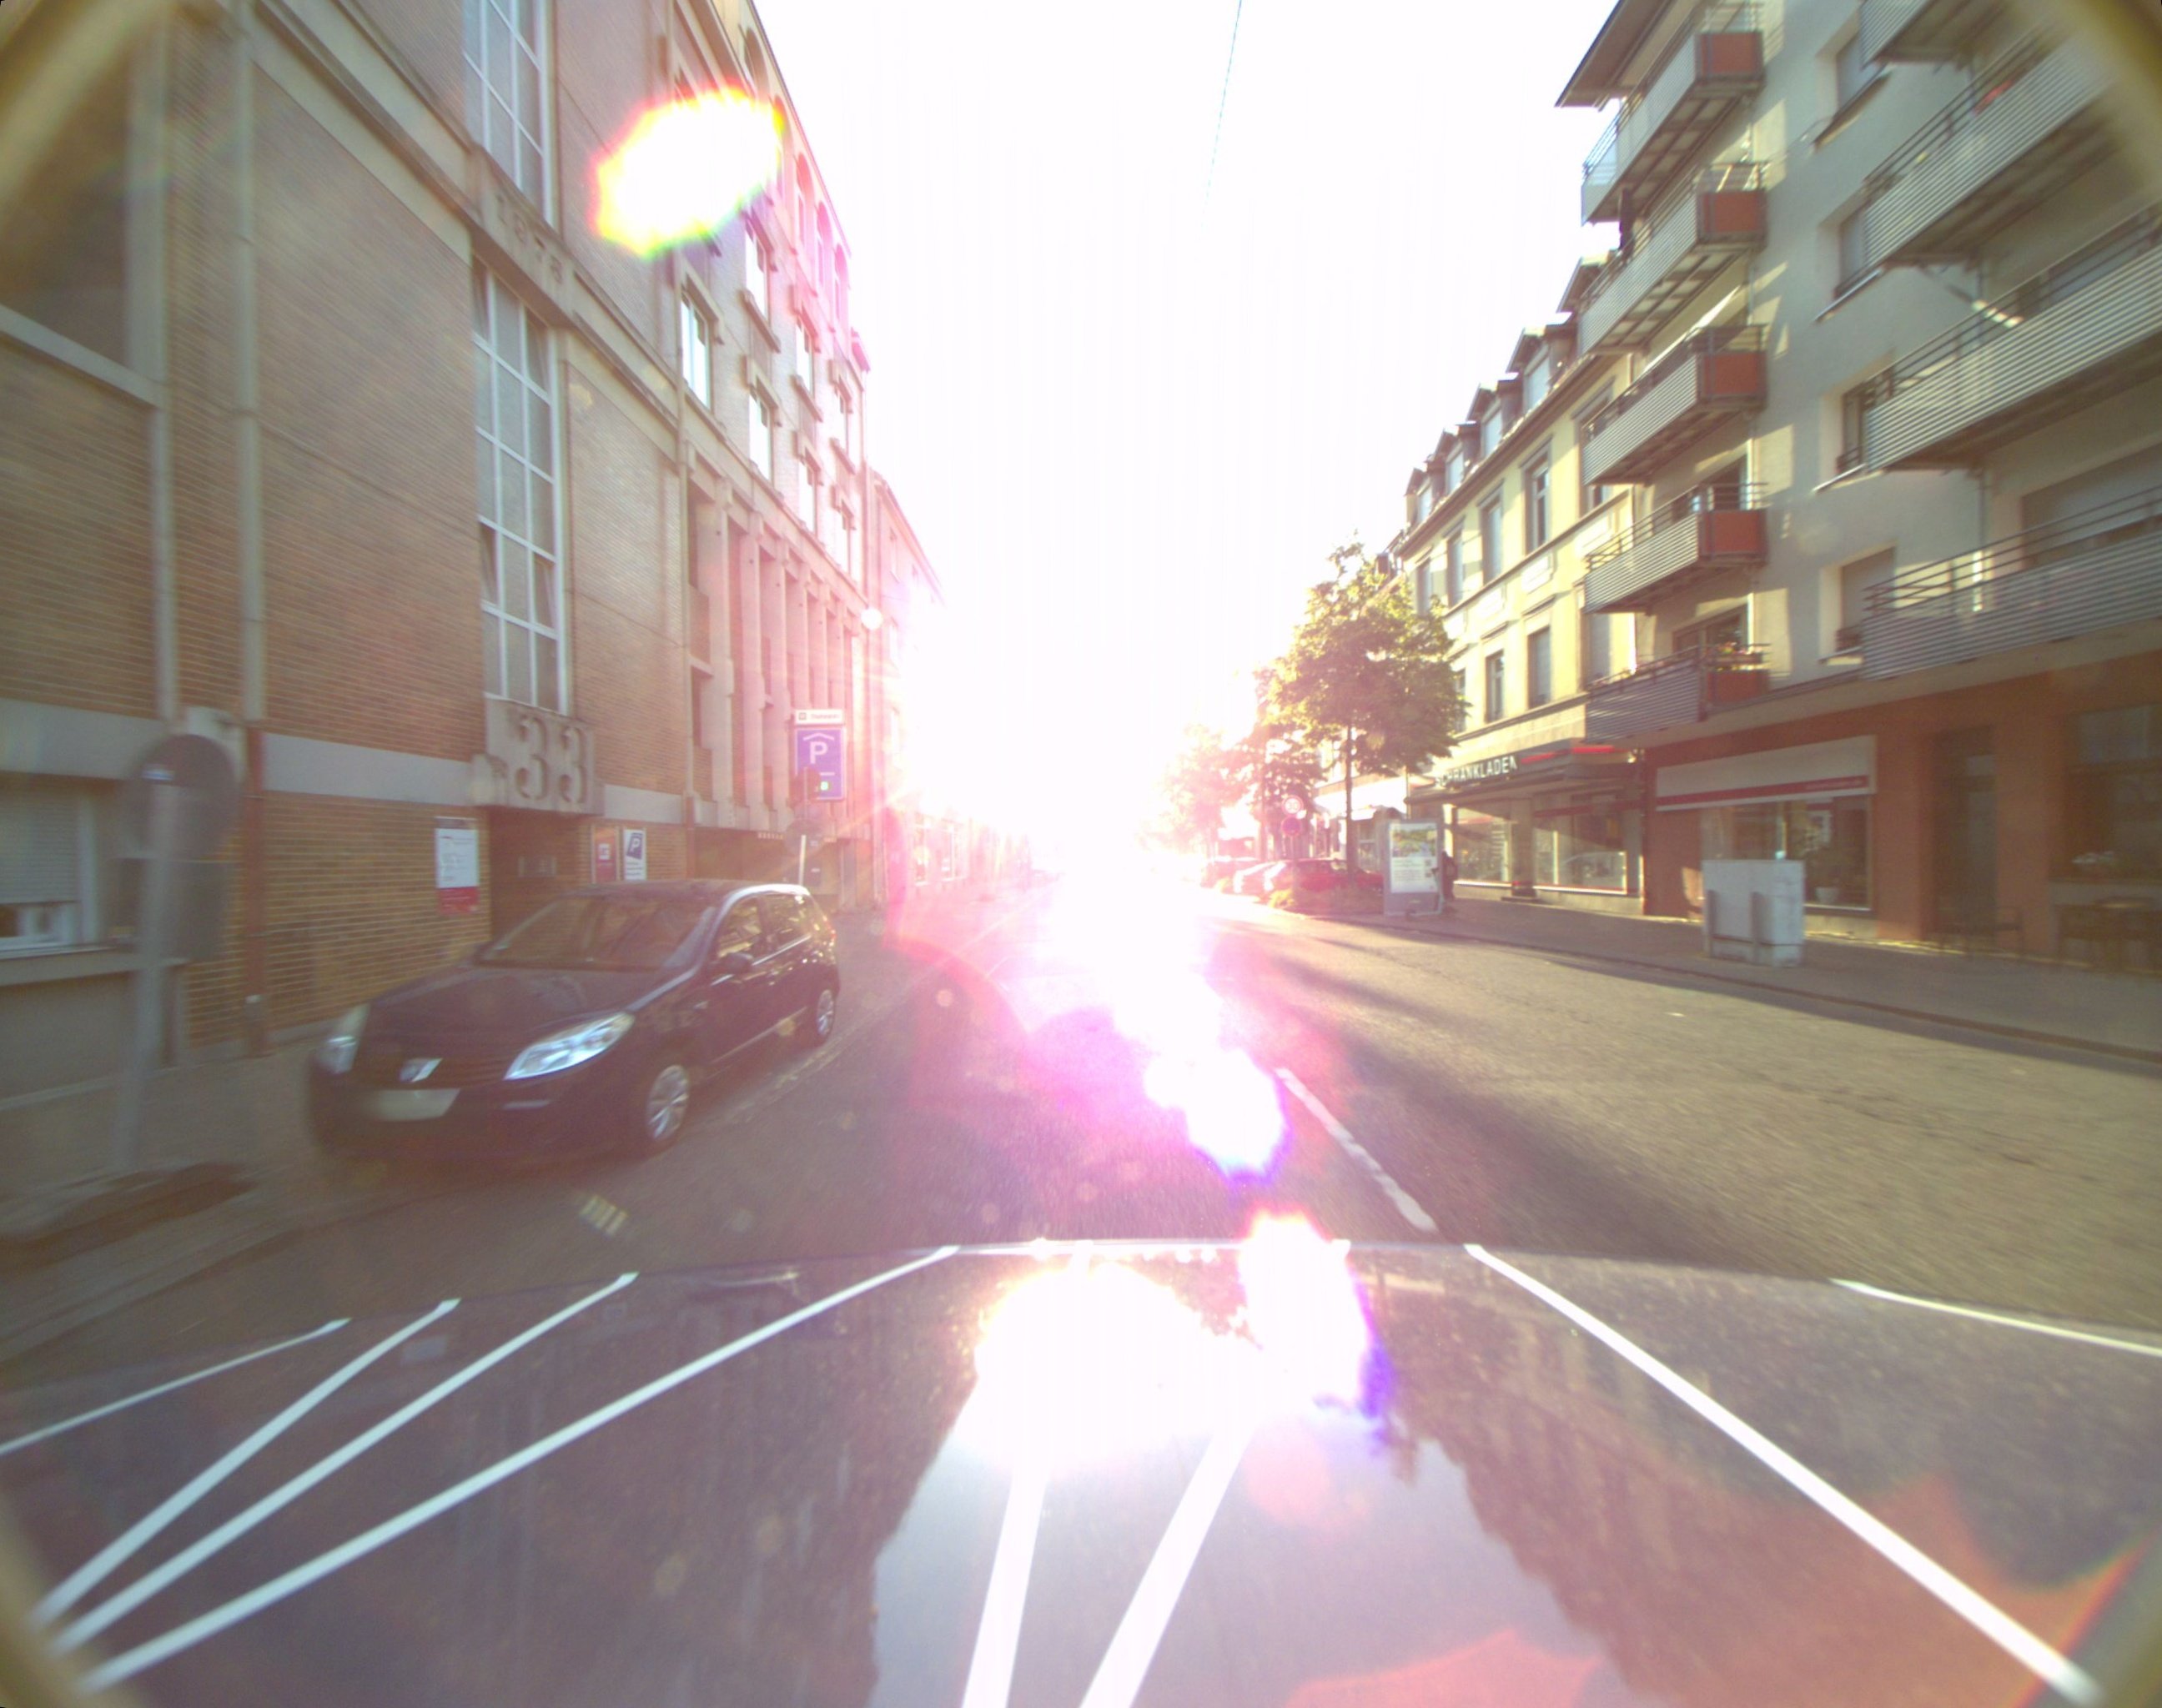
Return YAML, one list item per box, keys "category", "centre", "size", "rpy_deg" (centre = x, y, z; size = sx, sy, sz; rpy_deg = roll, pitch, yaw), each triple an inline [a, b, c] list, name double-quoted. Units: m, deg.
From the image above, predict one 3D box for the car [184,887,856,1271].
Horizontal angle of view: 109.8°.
- category: "car"
  centre: [-3.164, 1.108, 5.466]
  size: [1.763, 1.527, 4.000]
  rpy_deg: [2, 0, 2]

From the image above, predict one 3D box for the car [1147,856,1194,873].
- category: "car"
  centre: [8.582, 1.015, 72.936]
  size: [4.285, 1.475, 1.744]
  rpy_deg: [-2, 0, 1]

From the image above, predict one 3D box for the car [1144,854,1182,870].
- category: "car"
  centre: [9.001, 0.848, 83.788]
  size: [3.876, 1.558, 1.744]
  rpy_deg: [-2, 0, -1]

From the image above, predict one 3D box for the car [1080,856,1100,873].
- category: "car"
  centre: [0.876, 1.005, 74.125]
  size: [1.825, 1.469, 4.155]
  rpy_deg: [-2, 0, 2]

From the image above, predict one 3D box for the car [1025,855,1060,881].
- category: "car"
  centre: [-2.655, 0.939, 52.951]
  size: [2.043, 1.727, 4.712]
  rpy_deg: [1, 0, 2]

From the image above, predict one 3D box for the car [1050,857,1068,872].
- category: "car"
  centre: [-2.191, 1.066, 77.300]
  size: [1.695, 1.534, 3.553]
  rpy_deg: [0, 0, 0]

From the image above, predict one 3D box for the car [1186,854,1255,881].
- category: "car"
  centre: [8.407, 0.813, 46.089]
  size: [3.748, 1.435, 1.805]
  rpy_deg: [-3, 0, -2]

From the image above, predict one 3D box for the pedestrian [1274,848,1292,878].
- category: "pedestrian"
  centre: [11.658, 0.511, 43.878]
  size: [0.774, 1.712, 0.875]
  rpy_deg: [-3, 2, 1]

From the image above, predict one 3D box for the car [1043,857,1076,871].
- category: "car"
  centre: [-2.384, 1.111, 85.513]
  size: [1.661, 1.574, 3.632]
  rpy_deg: [-1, -1, 42]

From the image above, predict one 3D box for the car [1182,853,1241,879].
- category: "car"
  centre: [8.597, 0.776, 50.172]
  size: [3.565, 1.493, 1.716]
  rpy_deg: [-3, 0, 0]

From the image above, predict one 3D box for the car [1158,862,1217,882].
- category: "car"
  centre: [8.667, 1.448, 62.115]
  size: [4.559, 1.475, 1.744]
  rpy_deg: [-2, 0, 1]

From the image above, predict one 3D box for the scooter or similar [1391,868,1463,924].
- category: "scooter or similar"
  centre: [8.057, 0.970, 17.721]
  size: [1.402, 1.219, 0.525]
  rpy_deg: [-2, 1, -2]

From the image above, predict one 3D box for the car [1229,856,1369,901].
- category: "car"
  centre: [7.960, 0.884, 28.031]
  size: [4.582, 1.399, 1.821]
  rpy_deg: [-3, 0, -1]

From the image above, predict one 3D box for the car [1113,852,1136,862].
- category: "car"
  centre: [8.854, 0.543, 154.869]
  size: [4.439, 1.832, 1.814]
  rpy_deg: [-3, 0, 0]

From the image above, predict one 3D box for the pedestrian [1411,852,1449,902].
- category: "pedestrian"
  centre: [11.012, 0.712, 23.991]
  size: [0.736, 1.519, 0.875]
  rpy_deg: [-3, 2, 1]

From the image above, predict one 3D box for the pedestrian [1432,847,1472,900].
- category: "pedestrian"
  centre: [11.701, 0.613, 23.994]
  size: [0.774, 1.599, 0.875]
  rpy_deg: [-3, 2, 1]

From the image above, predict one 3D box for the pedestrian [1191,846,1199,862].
- category: "pedestrian"
  centre: [12.651, -0.036, 84.418]
  size: [0.721, 1.739, 0.934]
  rpy_deg: [-4, 0, 1]

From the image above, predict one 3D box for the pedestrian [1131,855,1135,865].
- category: "pedestrian"
  centre: [8.251, 0.938, 121.285]
  size: [0.550, 1.638, 0.721]
  rpy_deg: [-2, 0, 4]

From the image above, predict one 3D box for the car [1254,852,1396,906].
- category: "car"
  centre: [8.051, 0.810, 25.375]
  size: [4.082, 1.527, 1.884]
  rpy_deg: [-3, 0, 1]

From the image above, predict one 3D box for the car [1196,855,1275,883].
- category: "car"
  centre: [8.725, 0.841, 43.128]
  size: [4.107, 1.395, 1.843]
  rpy_deg: [-2, 0, 2]

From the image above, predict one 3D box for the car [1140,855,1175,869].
- category: "car"
  centre: [8.945, 0.896, 89.232]
  size: [3.876, 1.448, 1.744]
  rpy_deg: [-2, 0, -1]

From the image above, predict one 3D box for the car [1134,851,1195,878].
- category: "car"
  centre: [6.041, 0.773, 55.356]
  size: [4.160, 1.762, 1.889]
  rpy_deg: [-3, 0, -1]

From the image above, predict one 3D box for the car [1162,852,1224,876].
- category: "car"
  centre: [8.471, 0.752, 57.739]
  size: [4.417, 1.586, 1.890]
  rpy_deg: [-3, 0, 0]

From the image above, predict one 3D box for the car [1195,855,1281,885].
- category: "car"
  centre: [8.332, 0.832, 40.541]
  size: [4.117, 1.395, 1.884]
  rpy_deg: [-3, 0, -2]

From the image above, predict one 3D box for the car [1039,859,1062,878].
- category: "car"
  centre: [-2.405, 1.117, 59.906]
  size: [1.734, 1.479, 3.900]
  rpy_deg: [1, 0, -2]

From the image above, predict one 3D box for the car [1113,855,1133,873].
- category: "car"
  centre: [4.312, 1.044, 78.441]
  size: [1.866, 1.682, 4.461]
  rpy_deg: [-1, -1, 0]

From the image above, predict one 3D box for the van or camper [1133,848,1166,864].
- category: "van or camper"
  centre: [9.330, 0.286, 103.768]
  size: [4.469, 1.945, 1.789]
  rpy_deg: [-2, 0, 2]

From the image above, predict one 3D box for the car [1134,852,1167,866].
- category: "car"
  centre: [9.221, 0.674, 100.902]
  size: [4.193, 1.659, 1.732]
  rpy_deg: [-2, 1, 3]

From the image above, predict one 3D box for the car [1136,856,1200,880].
- category: "car"
  centre: [5.976, 0.956, 52.560]
  size: [4.160, 1.413, 1.766]
  rpy_deg: [-3, 0, -1]
